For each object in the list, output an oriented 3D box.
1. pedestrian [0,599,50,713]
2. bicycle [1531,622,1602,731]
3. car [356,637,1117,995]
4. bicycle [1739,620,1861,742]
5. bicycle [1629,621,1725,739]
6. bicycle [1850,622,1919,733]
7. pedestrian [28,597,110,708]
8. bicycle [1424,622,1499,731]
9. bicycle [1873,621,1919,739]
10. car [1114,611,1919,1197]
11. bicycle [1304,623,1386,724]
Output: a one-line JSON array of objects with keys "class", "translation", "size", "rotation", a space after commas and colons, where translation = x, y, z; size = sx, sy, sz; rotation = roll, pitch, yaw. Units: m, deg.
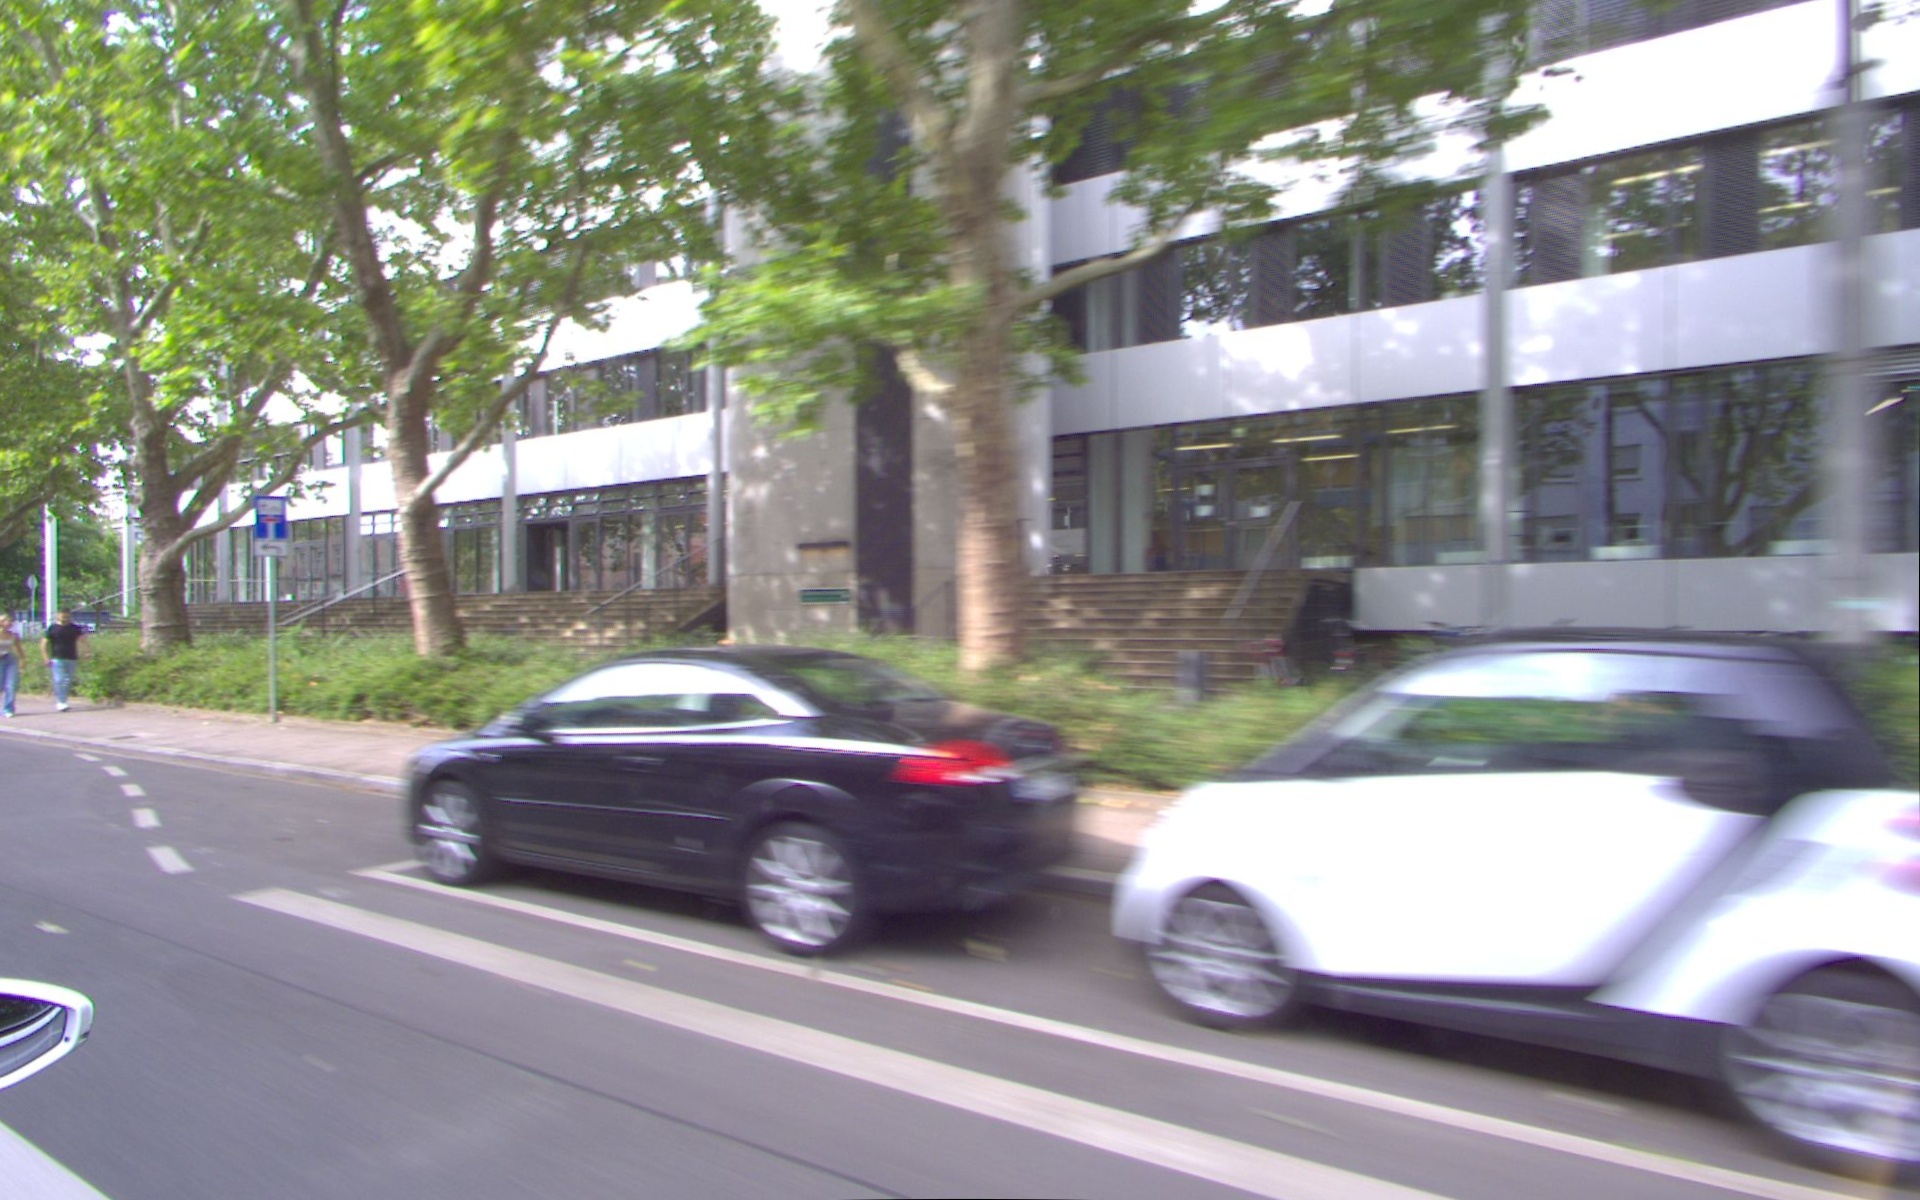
[{"class": "pedestrian", "translation": [-15.701, 0.905, 16.510], "size": [1.018, 1.807, 0.709], "rotation": [-1, 1, 30]}, {"class": "bicycle", "translation": [7.084, 0.841, 11.738], "size": [0.663, 1.132, 1.912], "rotation": [0, 0, 30]}, {"class": "car", "translation": [-1.428, 0.966, 5.931], "size": [4.354, 1.443, 1.697], "rotation": [-1, -2, 28]}, {"class": "bicycle", "translation": [8.824, 0.800, 10.595], "size": [0.663, 1.132, 1.912], "rotation": [0, 0, 30]}, {"class": "bicycle", "translation": [7.773, 0.812, 10.919], "size": [0.663, 1.132, 1.912], "rotation": [0, 0, 30]}, {"class": "bicycle", "translation": [10.270, 0.802, 10.417], "size": [1.414, 1.132, 0.491], "rotation": [0, 1, 26]}, {"class": "pedestrian", "translation": [-15.246, 0.879, 17.137], "size": [1.018, 1.824, 0.714], "rotation": [-1, 1, 30]}, {"class": "bicycle", "translation": [5.974, 0.846, 11.873], "size": [0.663, 1.132, 2.076], "rotation": [0, 0, 30]}, {"class": "bicycle", "translation": [9.582, 0.776, 9.472], "size": [0.611, 1.132, 1.698], "rotation": [0, 0, 12]}, {"class": "car", "translation": [2.098, 0.859, 3.925], "size": [2.563, 1.562, 1.533], "rotation": [-1, -2, 34]}, {"class": "bicycle", "translation": [4.858, 0.871, 12.573], "size": [0.663, 1.132, 1.912], "rotation": [0, 0, 30]}]
